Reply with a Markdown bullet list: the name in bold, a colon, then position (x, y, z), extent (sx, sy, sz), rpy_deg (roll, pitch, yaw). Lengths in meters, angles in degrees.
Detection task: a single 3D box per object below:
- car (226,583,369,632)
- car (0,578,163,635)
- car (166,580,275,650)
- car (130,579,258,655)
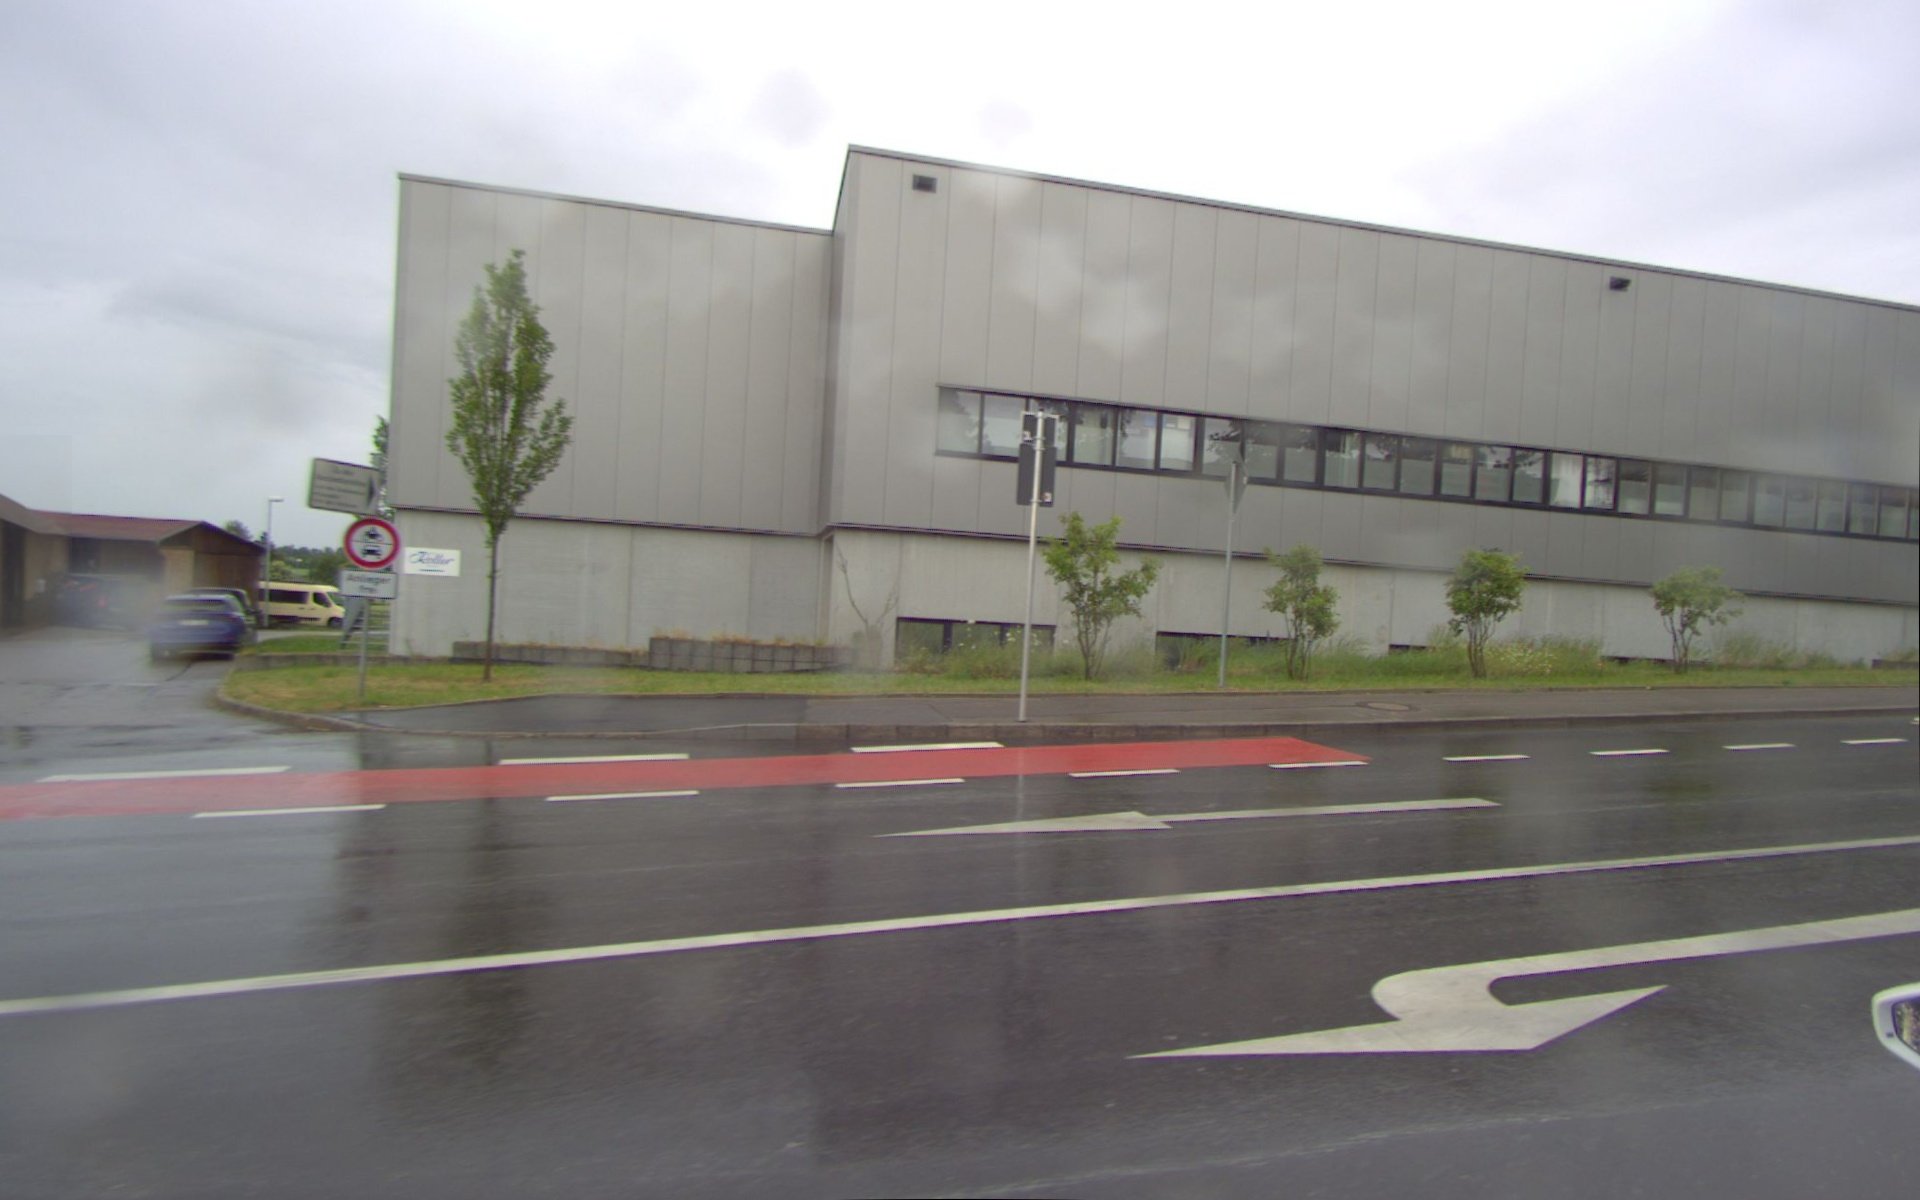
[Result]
- **car**: position (-35.849, 0.421, 54.494), extent (5.915, 2.447, 2.461), rpy_deg (2, -2, -6)
- **car**: position (-32.113, 0.253, 36.764), extent (4.321, 1.930, 2.001), rpy_deg (1, -2, 4)
- **car**: position (-21.578, 0.455, 29.477), extent (2.057, 1.859, 4.434), rpy_deg (2, -2, -30)
- **car**: position (-18.203, 0.429, 24.074), extent (1.936, 1.631, 4.409), rpy_deg (2, -2, -32)
